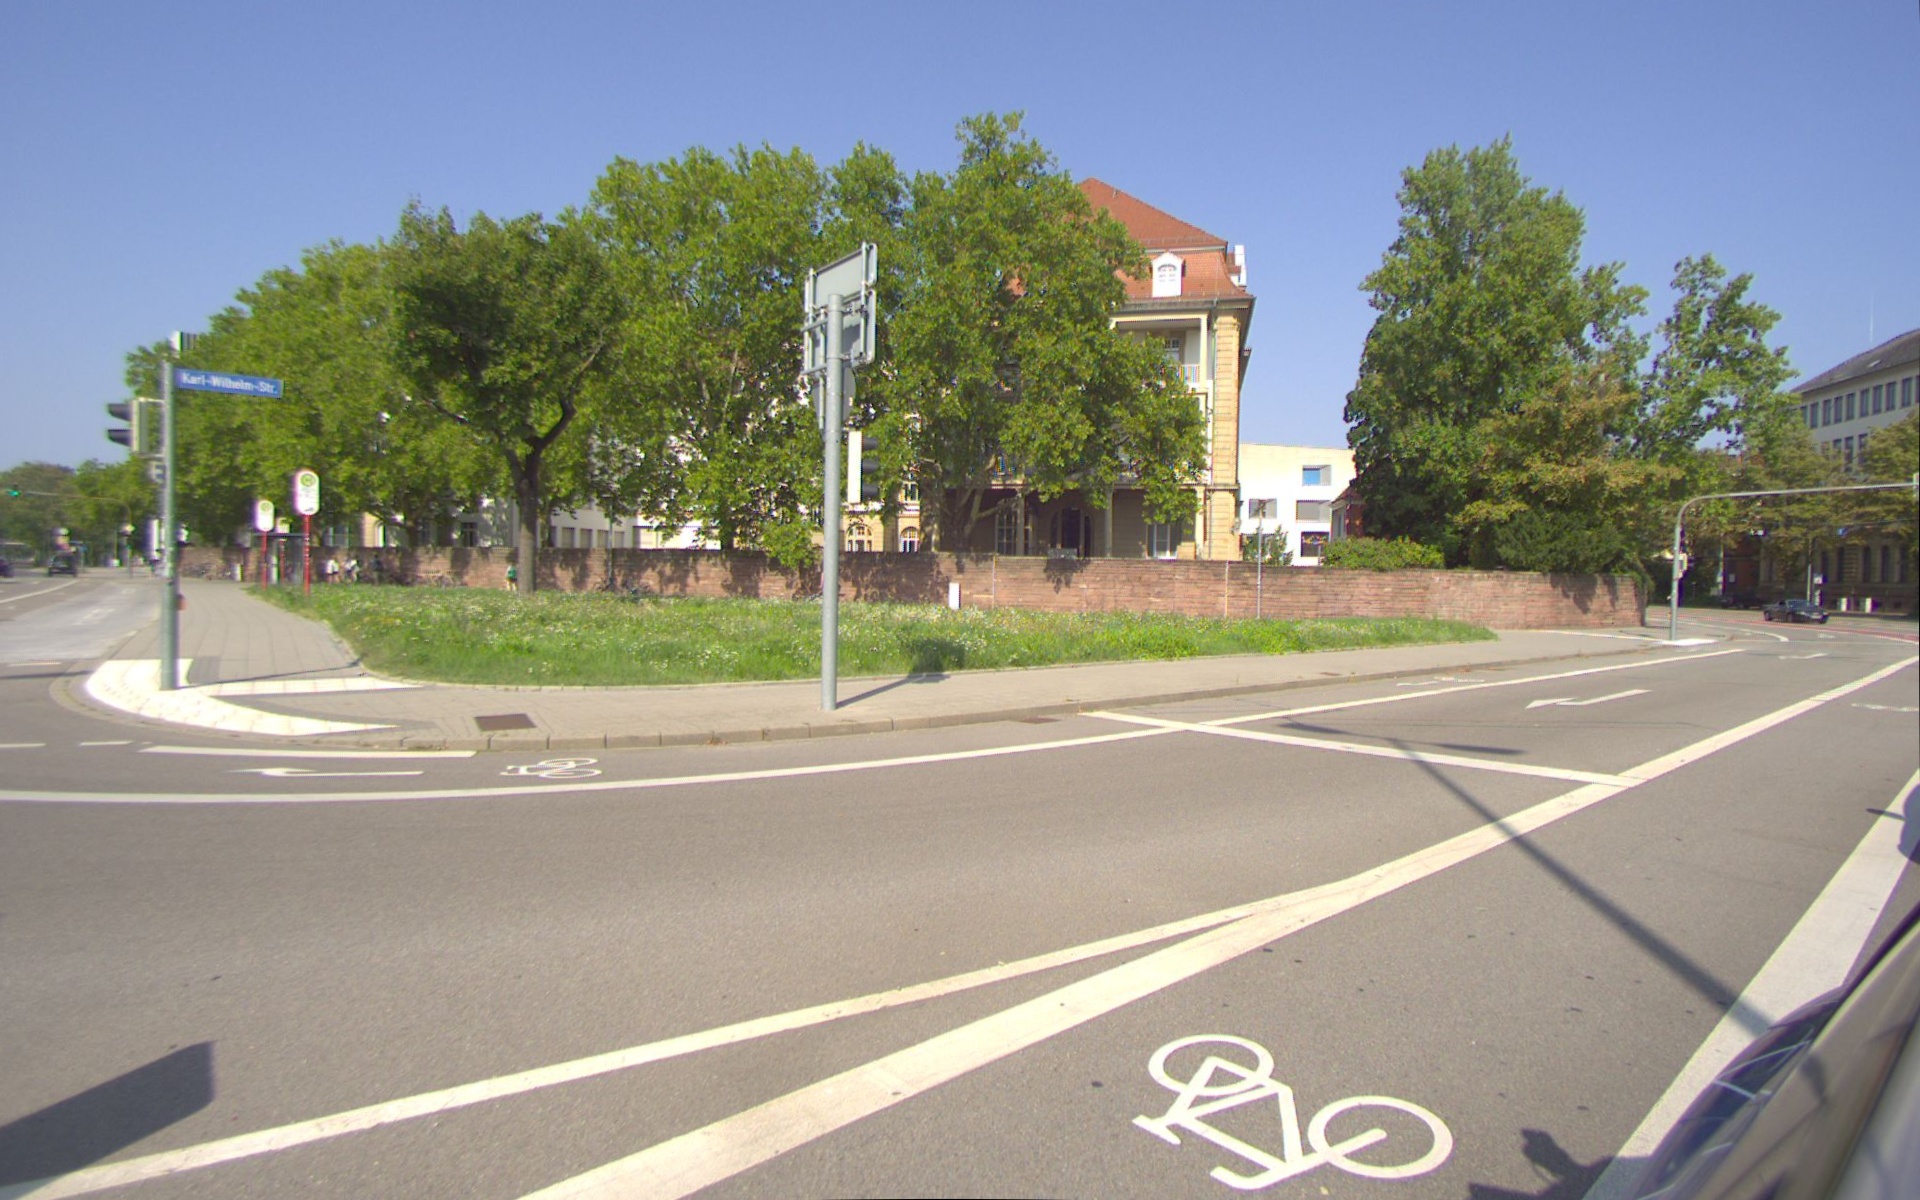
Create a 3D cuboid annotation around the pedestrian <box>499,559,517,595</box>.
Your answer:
[{"bbox_3d":[-21.090,-1.068,47.232,0.588,1.672,0.478,-1,-1,27],"label":"pedestrian"}]

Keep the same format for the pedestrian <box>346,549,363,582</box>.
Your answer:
[{"bbox_3d":[-30.855,-1.763,51.587,0.589,1.672,0.514,-1,-1,32],"label":"pedestrian"}]

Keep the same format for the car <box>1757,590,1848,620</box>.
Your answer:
[{"bbox_3d":[49.242,0.281,59.262,1.965,1.630,4.240,1,0,5],"label":"car"}]

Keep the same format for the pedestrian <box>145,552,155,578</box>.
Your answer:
[{"bbox_3d":[-55.330,-2.392,69.146,0.478,1.762,0.504,0,-1,-43],"label":"pedestrian"}]

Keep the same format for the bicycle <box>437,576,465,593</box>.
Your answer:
[{"bbox_3d":[-25.704,-0.796,51.067,1.535,0.846,0.430,2,2,27],"label":"bicycle"}]

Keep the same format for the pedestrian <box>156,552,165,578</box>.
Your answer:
[{"bbox_3d":[-54.716,-2.398,69.270,0.478,1.762,0.504,0,-1,-43],"label":"pedestrian"}]

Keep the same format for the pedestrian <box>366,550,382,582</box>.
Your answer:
[{"bbox_3d":[-30.427,-1.761,52.552,0.590,1.672,0.478,-1,-1,32],"label":"pedestrian"}]

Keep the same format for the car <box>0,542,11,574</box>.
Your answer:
[{"bbox_3d":[-65.318,-2.814,68.085,3.984,2.039,1.890,-1,0,42],"label":"car"}]

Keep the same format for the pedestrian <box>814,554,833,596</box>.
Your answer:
[{"bbox_3d":[-5.559,-1.019,41.277,0.586,1.672,0.480,-1,-1,19],"label":"pedestrian"}]

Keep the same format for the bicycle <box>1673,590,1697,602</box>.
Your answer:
[{"bbox_3d":[67.809,-0.374,94.678,0.653,0.968,2.089,1,2,-3],"label":"bicycle"}]

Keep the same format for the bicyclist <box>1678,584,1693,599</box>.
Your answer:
[{"bbox_3d":[67.812,-0.792,94.636,0.653,1.356,0.926,1,1,-3],"label":"bicyclist"}]

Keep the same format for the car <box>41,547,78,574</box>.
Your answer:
[{"bbox_3d":[-74.045,-3.254,83.192,3.984,2.039,1.890,-1,0,42],"label":"car"}]

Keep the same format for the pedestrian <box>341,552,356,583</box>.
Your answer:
[{"bbox_3d":[-32.677,-1.726,54.094,0.590,1.672,0.478,-1,-1,32],"label":"pedestrian"}]

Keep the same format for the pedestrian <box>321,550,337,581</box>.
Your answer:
[{"bbox_3d":[-33.166,-1.790,53.197,0.498,1.591,0.529,-1,-1,29],"label":"pedestrian"}]

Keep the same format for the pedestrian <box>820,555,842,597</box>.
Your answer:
[{"bbox_3d":[-5.336,-0.980,41.859,0.708,1.704,0.591,1,1,17],"label":"pedestrian"}]

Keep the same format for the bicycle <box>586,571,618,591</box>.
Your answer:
[{"bbox_3d":[-16.498,-0.880,46.599,1.533,0.846,0.430,2,1,25],"label":"bicycle"}]

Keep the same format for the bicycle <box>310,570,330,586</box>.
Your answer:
[{"bbox_3d":[-36.548,-1.271,57.810,1.540,0.845,0.428,2,2,36],"label":"bicycle"}]
